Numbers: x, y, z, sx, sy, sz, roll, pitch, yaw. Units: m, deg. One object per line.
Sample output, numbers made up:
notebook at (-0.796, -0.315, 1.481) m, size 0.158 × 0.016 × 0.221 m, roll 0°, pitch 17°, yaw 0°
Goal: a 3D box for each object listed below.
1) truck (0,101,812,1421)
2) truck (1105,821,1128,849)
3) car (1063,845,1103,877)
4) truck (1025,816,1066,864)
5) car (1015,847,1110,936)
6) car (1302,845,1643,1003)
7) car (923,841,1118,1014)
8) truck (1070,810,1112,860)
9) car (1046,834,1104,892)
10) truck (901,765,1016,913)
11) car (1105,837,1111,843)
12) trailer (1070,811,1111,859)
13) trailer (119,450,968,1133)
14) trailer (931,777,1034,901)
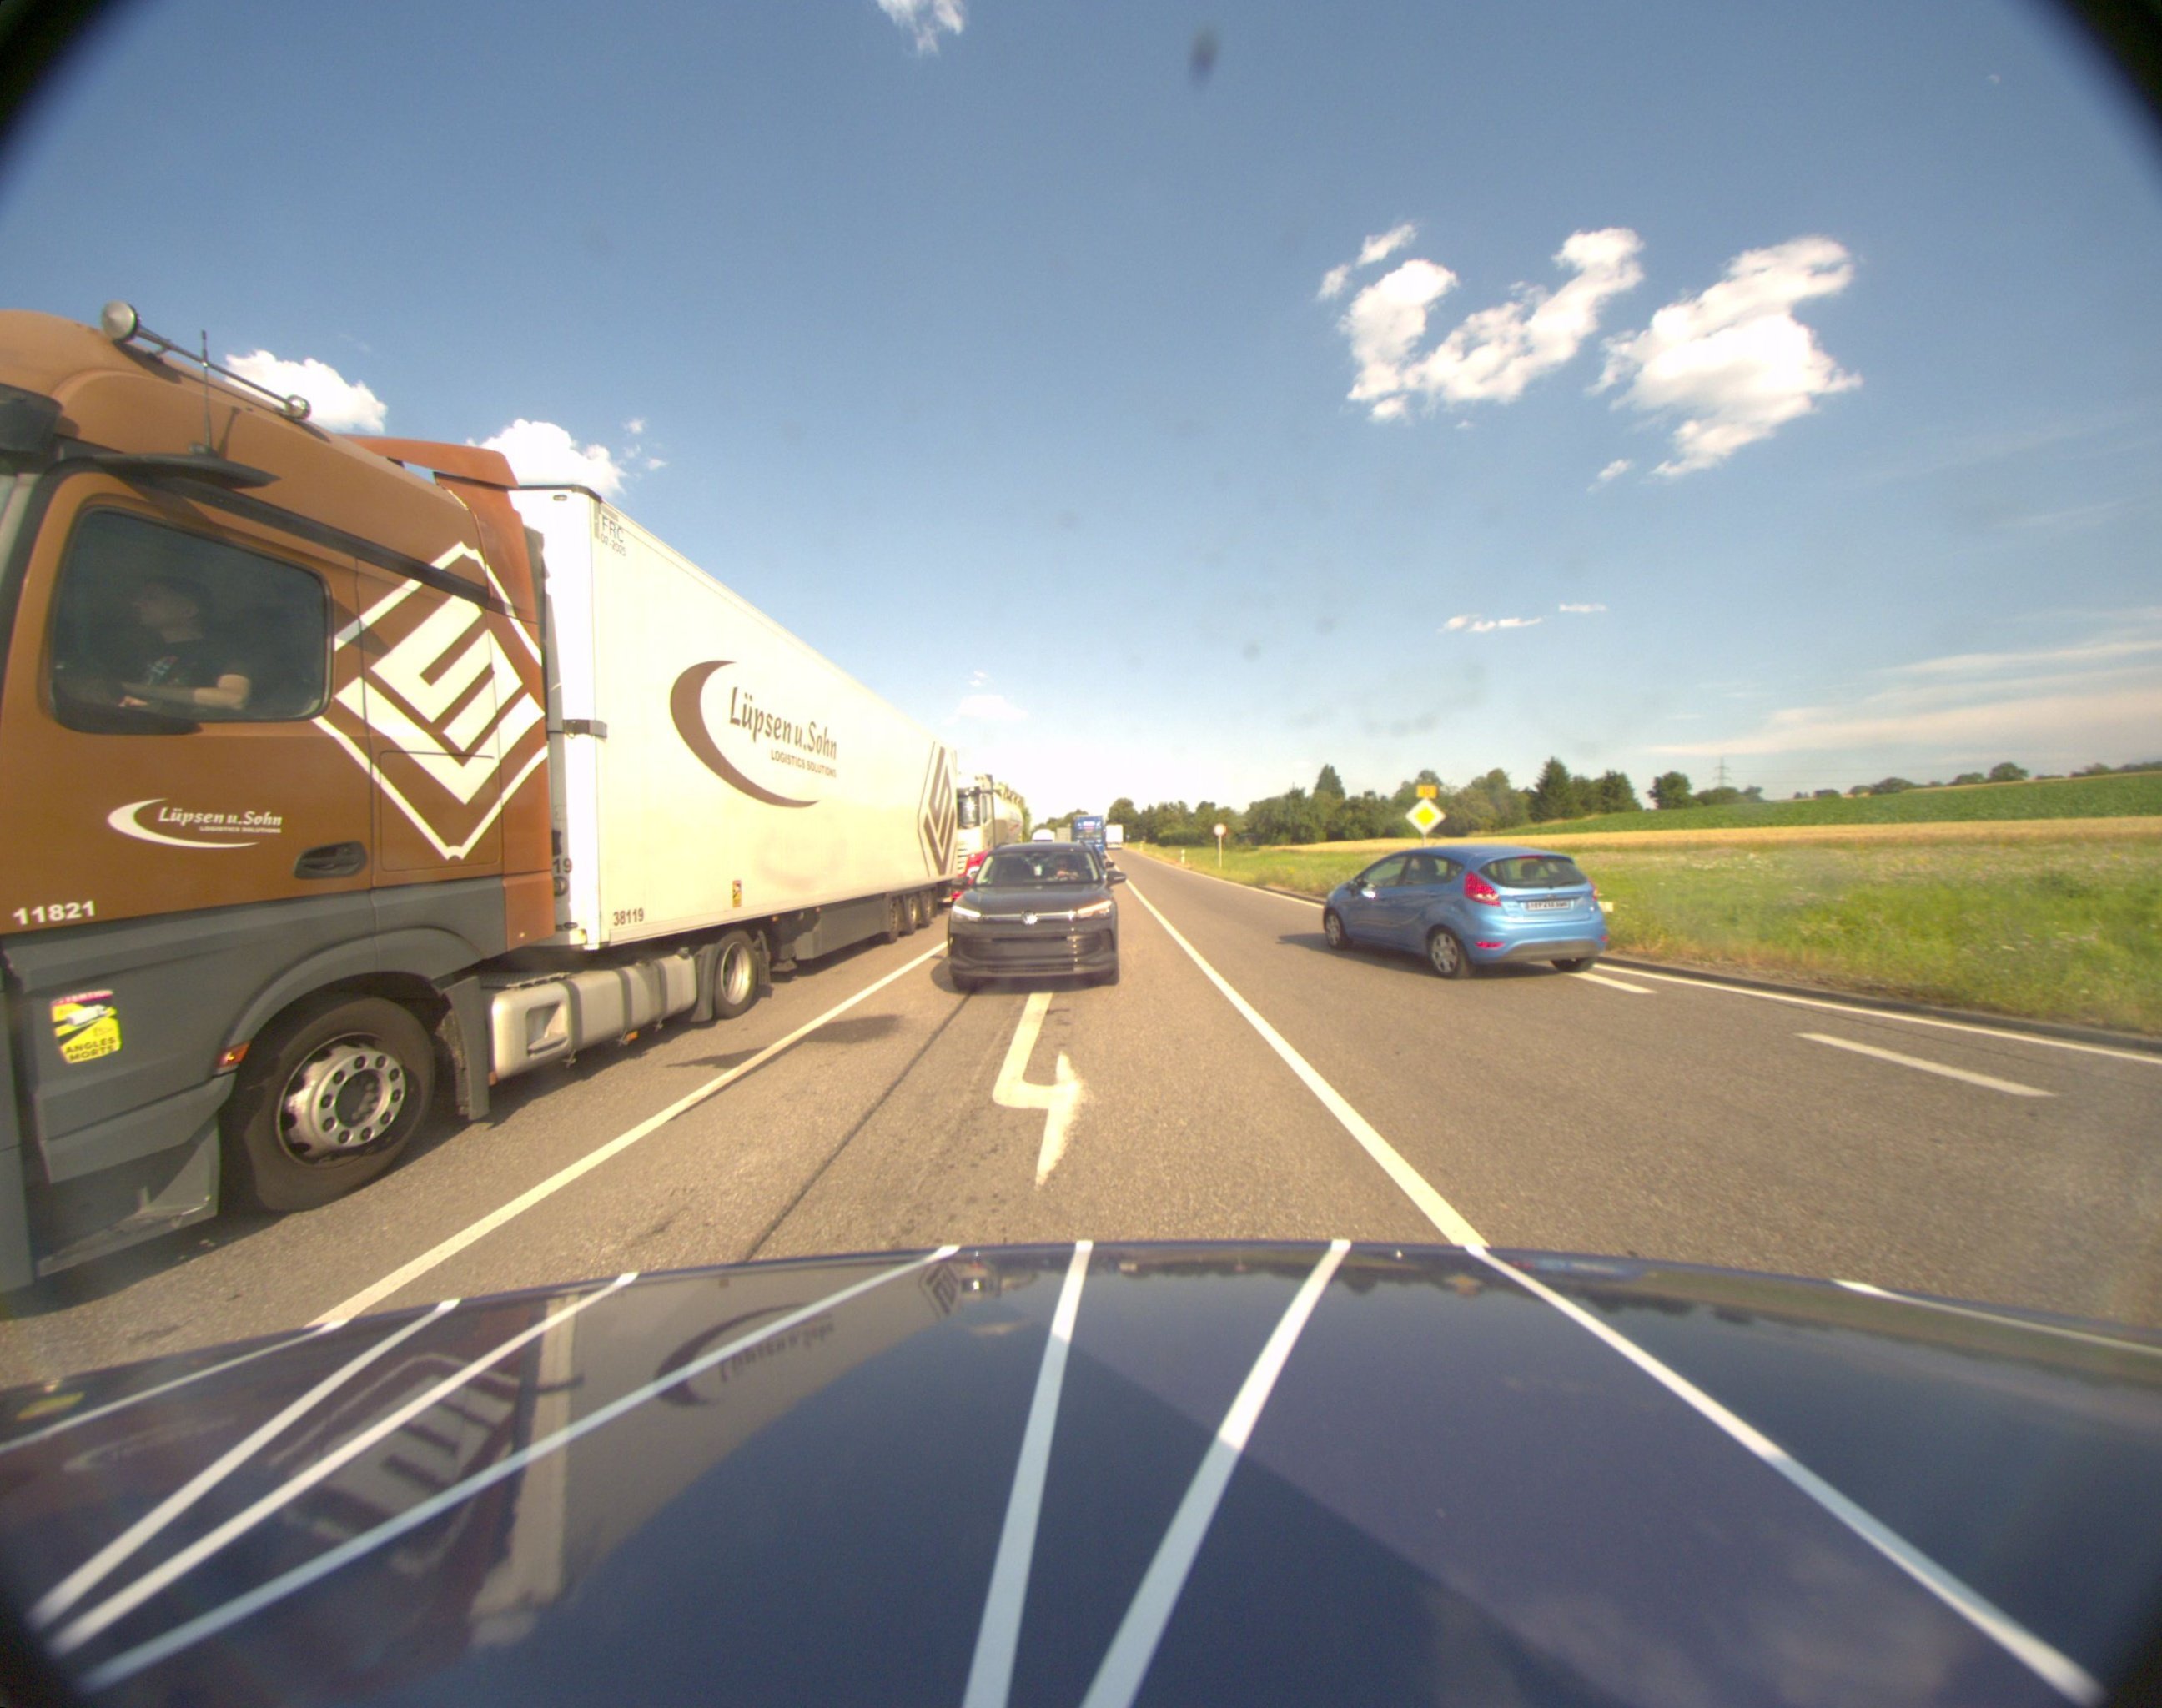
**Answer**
truck at (-4.462, -0.339, 5.147) m, size 2.538 × 4.021 × 6.661 m, roll -2°, pitch 1°, yaw 2°
truck at (5.946, -3.215, 128.668) m, size 3.449 × 4.472 × 9.485 m, roll -2°, pitch 1°, yaw 1°
car at (0.127, 0.341, 40.204) m, size 1.998 × 1.477 × 3.999 m, roll -2°, pitch 1°, yaw 1°
truck at (-3.006, -1.278, 67.841) m, size 2.528 × 3.752 × 12.897 m, roll -2°, pitch 1°, yaw 2°
car at (-0.267, 0.717, 17.026) m, size 1.774 × 1.604 × 4.547 m, roll -2°, pitch 1°, yaw 2°
car at (4.432, 0.677, 9.412) m, size 1.765 × 1.492 × 3.997 m, roll -1°, pitch 0°, yaw -8°
car at (-0.483, 0.683, 9.647) m, size 1.787 × 1.620 × 4.469 m, roll -2°, pitch 1°, yaw 4°
truck at (0.878, -1.649, 65.713) m, size 3.373 × 3.982 × 5.600 m, roll -2°, pitch 1°, yaw 1°
car at (-0.164, 0.265, 28.534) m, size 1.907 × 1.937 × 4.371 m, roll -3°, pitch 1°, yaw 1°
truck at (-3.439, -0.446, 22.637) m, size 2.261 × 3.783 × 5.685 m, roll -2°, pitch 1°, yaw 1°
car at (7.795, -4.038, 218.529) m, size 1.427 × 1.563 × 3.504 m, roll -2°, pitch 1°, yaw 1°
trailer at (0.916, -1.782, 72.351) m, size 3.416 × 3.982 × 13.747 m, roll -2°, pitch 1°, yaw 1°
trailer at (-4.314, -0.437, 11.779) m, size 2.538 × 4.043 × 14.334 m, roll -2°, pitch 1°, yaw 1°
trailer at (-3.347, -0.547, 28.387) m, size 2.264 × 3.756 × 9.523 m, roll -3°, pitch 1°, yaw 1°
